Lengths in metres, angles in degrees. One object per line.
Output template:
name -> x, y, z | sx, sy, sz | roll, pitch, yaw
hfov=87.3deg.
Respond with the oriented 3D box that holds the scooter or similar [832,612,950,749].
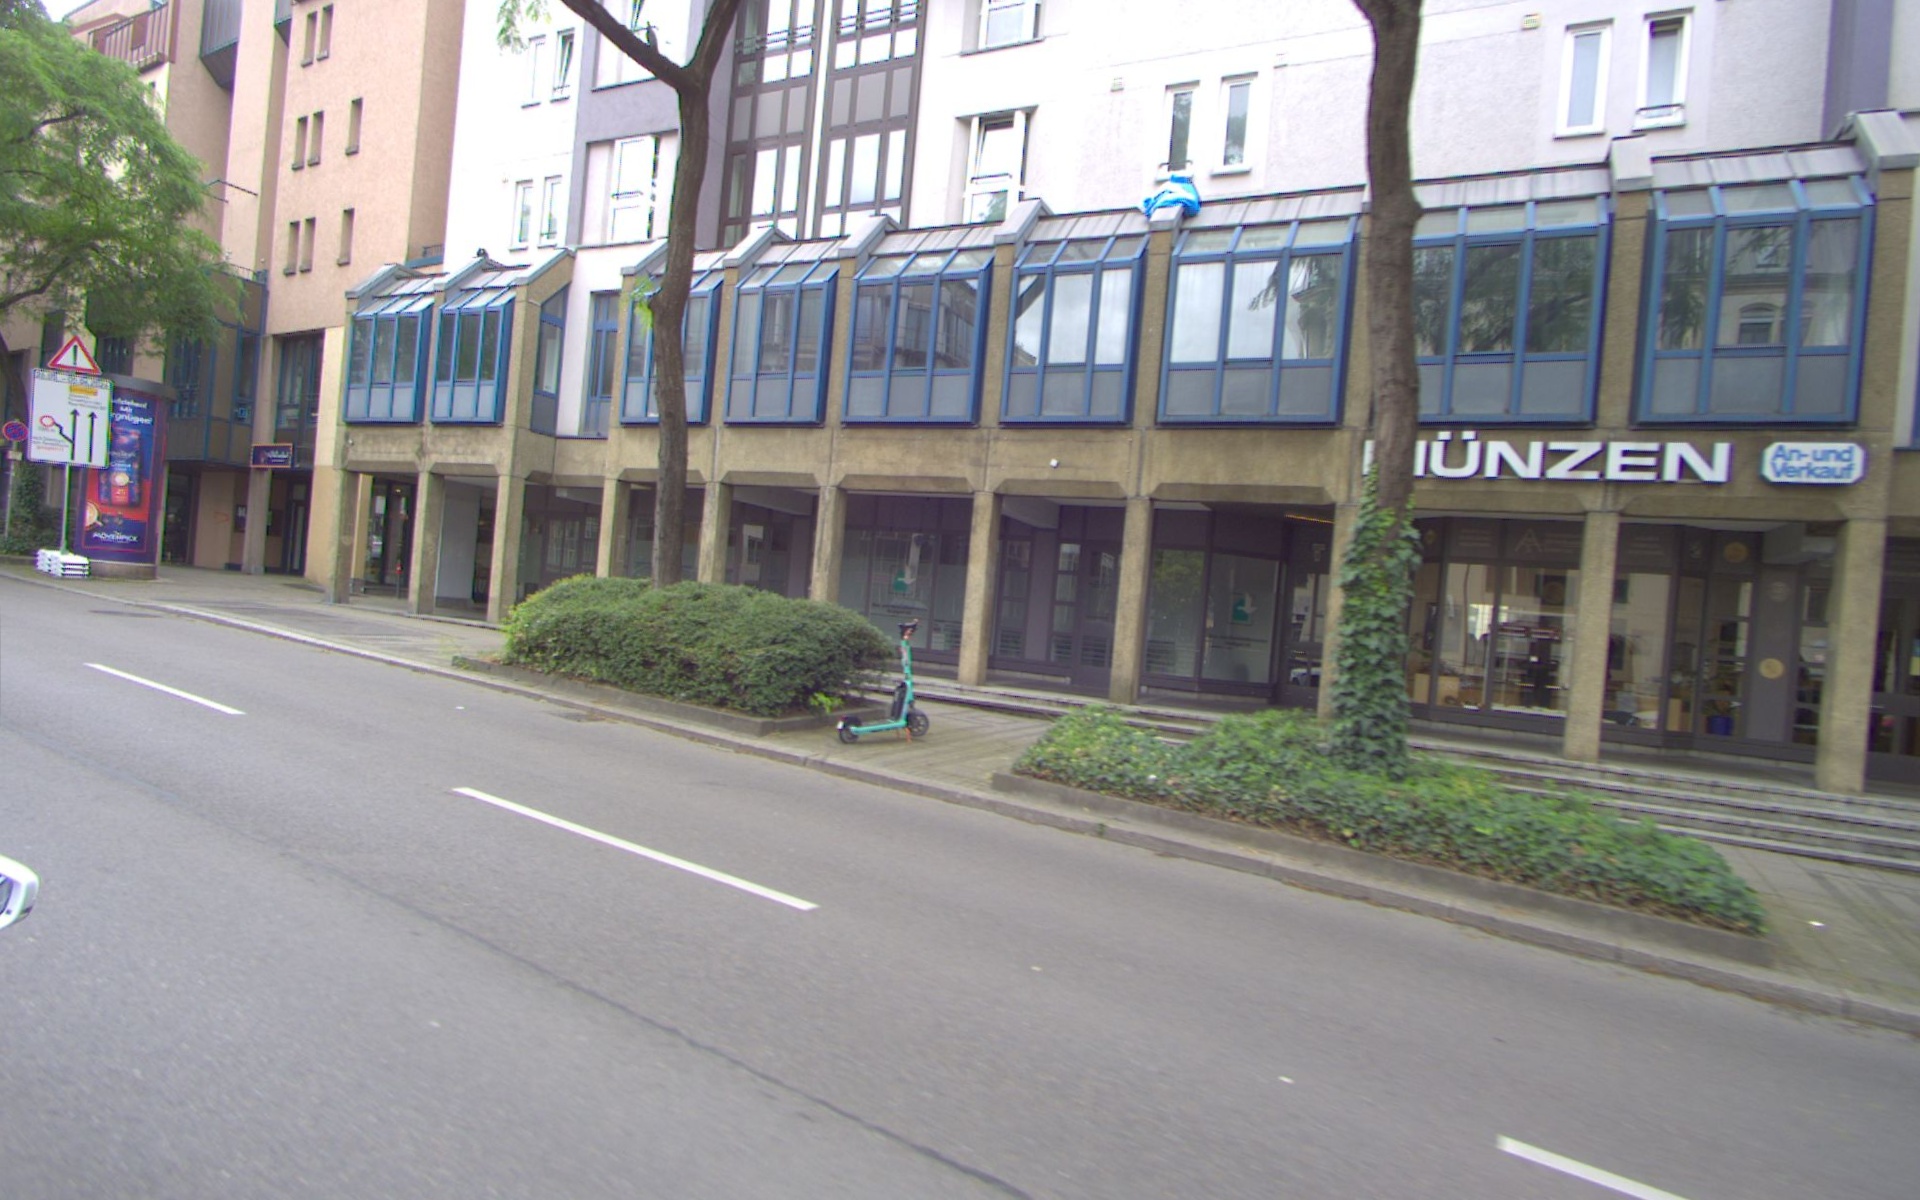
scooter or similar -> -0.690, 0.804, 10.303 | 0.419, 1.302, 1.159 | 7, 3, 40
